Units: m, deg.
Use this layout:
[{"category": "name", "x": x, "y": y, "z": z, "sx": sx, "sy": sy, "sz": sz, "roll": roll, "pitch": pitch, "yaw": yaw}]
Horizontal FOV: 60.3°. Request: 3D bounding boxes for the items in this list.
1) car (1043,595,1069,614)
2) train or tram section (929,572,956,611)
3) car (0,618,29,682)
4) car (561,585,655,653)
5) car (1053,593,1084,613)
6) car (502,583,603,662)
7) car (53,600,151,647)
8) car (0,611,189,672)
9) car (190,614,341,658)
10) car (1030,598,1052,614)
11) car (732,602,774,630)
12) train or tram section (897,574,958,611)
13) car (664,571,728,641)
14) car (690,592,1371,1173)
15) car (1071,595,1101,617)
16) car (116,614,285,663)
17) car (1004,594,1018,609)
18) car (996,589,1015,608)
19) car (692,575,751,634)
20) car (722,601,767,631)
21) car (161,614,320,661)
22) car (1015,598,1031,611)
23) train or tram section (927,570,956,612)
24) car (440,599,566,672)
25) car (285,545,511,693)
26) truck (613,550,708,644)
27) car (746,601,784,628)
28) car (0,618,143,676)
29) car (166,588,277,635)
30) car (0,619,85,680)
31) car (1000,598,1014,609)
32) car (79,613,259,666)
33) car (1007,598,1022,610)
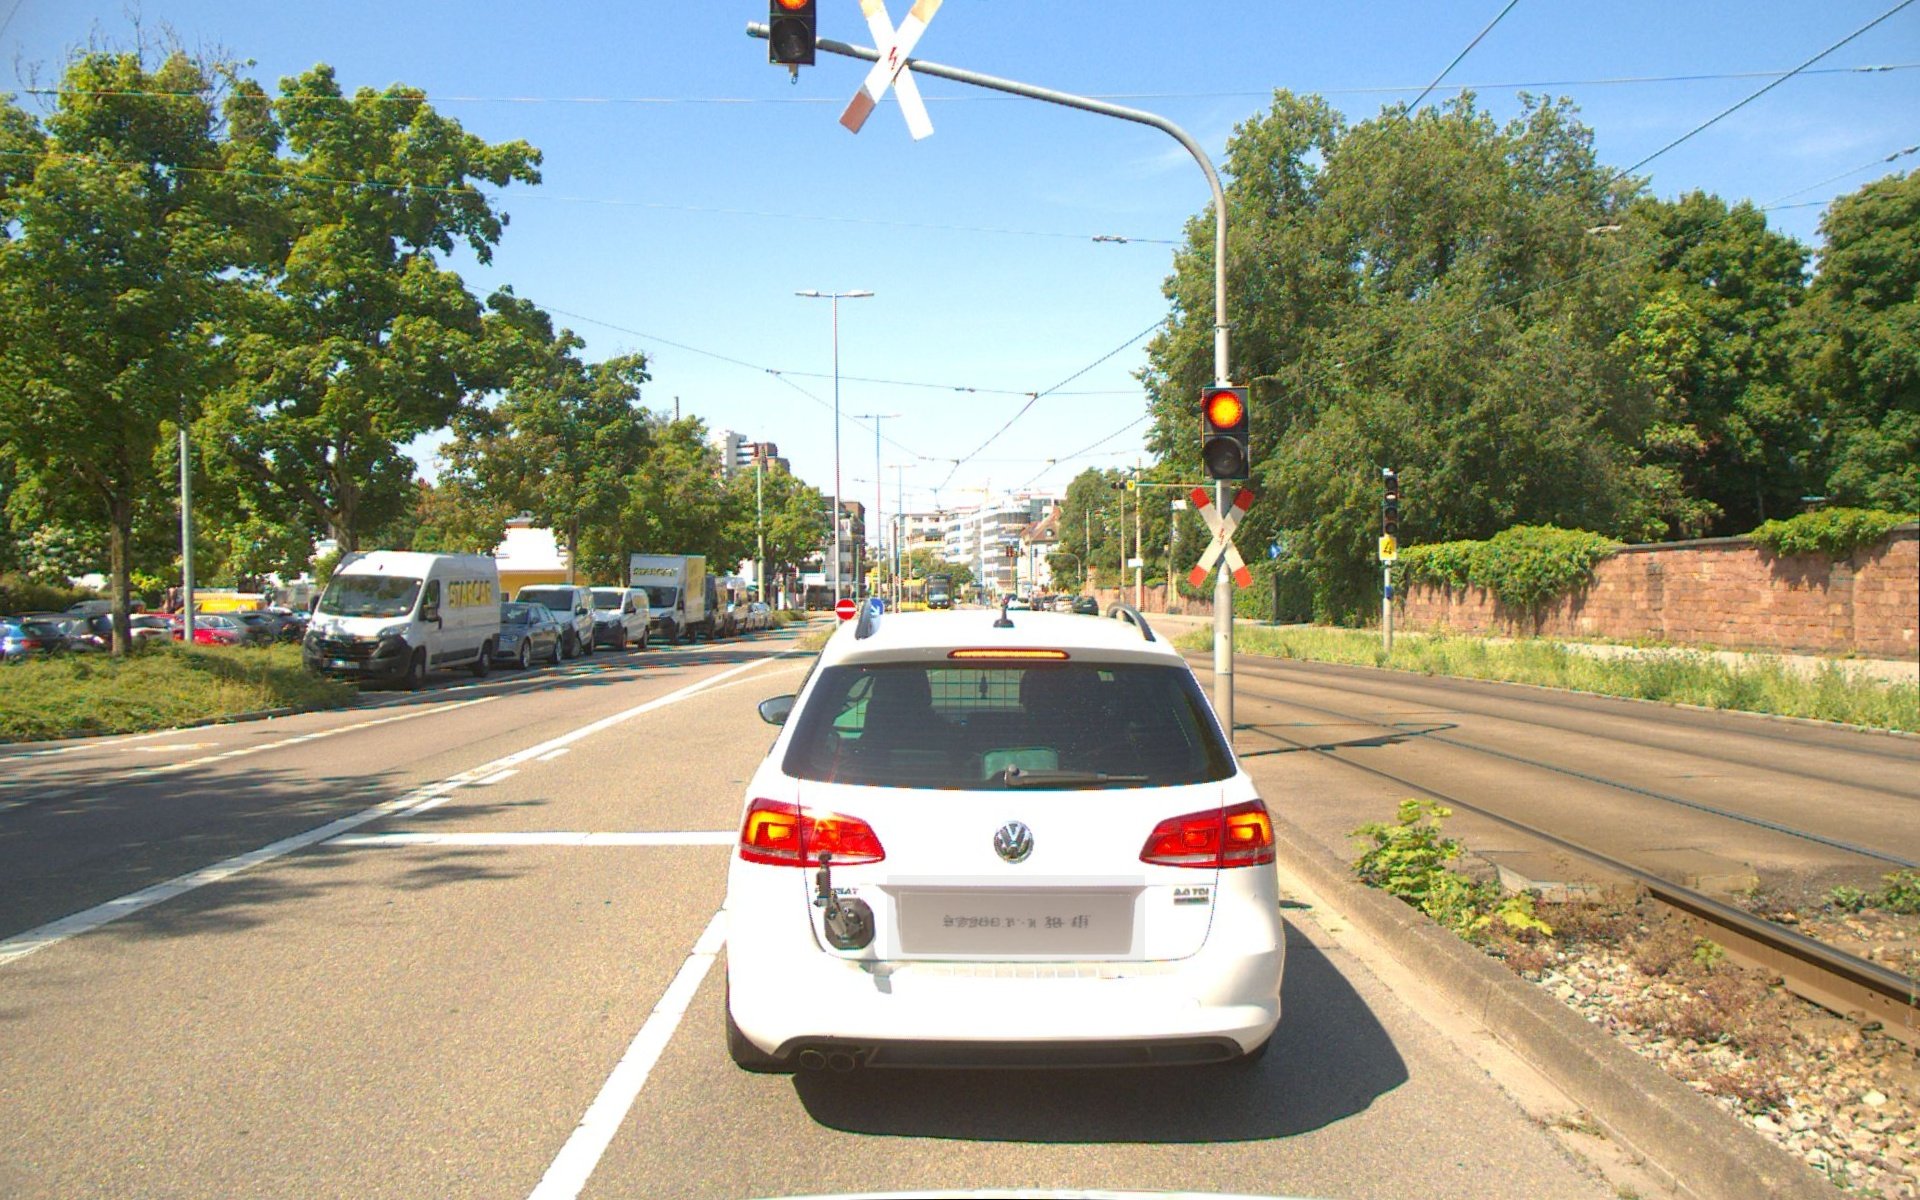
[{"category": "car", "x": 8.031, "y": 0.368, "z": 138.601, "sx": 1.824, "sy": 1.539, "sz": 3.911, "roll": 1, "pitch": 0, "yaw": -2}, {"category": "train or tram section", "x": -1.538, "y": -0.734, "z": 148.341, "sx": 2.254, "sy": 3.309, "sz": 10.807, "roll": 1, "pitch": -1, "yaw": 0}, {"category": "car", "x": -20.966, "y": 1.049, "z": 32.841, "sx": 3.907, "sy": 1.246, "sz": 1.770, "roll": -1, "pitch": 0, "yaw": -3}, {"category": "car", "x": -10.947, "y": 0.547, "z": 51.762, "sx": 1.806, "sy": 1.995, "sz": 5.133, "roll": -1, "pitch": 0, "yaw": 0}, {"category": "car", "x": 8.038, "y": 0.228, "z": 122.625, "sx": 1.824, "sy": 1.441, "sz": 4.323, "roll": 1, "pitch": 0, "yaw": -2}, {"category": "car", "x": -11.037, "y": 0.567, "z": 45.132, "sx": 1.807, "sy": 1.971, "sz": 5.189, "roll": -1, "pitch": 0, "yaw": -5}, {"category": "car", "x": -36.984, "y": 0.991, "z": 71.352, "sx": 3.354, "sy": 1.909, "sz": 1.552, "roll": -1, "pitch": 0, "yaw": -3}, {"category": "car", "x": -21.752, "y": 1.027, "z": 41.554, "sx": 3.904, "sy": 1.373, "sz": 1.772, "roll": -1, "pitch": 0, "yaw": 2}, {"category": "car", "x": -21.576, "y": 1.115, "z": 51.488, "sx": 3.904, "sy": 1.246, "sz": 1.772, "roll": -1, "pitch": 0, "yaw": 2}, {"category": "car", "x": 7.563, "y": 0.533, "z": 154.674, "sx": 1.711, "sy": 1.432, "sz": 3.910, "roll": 1, "pitch": 0, "yaw": -3}, {"category": "car", "x": -11.382, "y": 0.871, "z": 91.179, "sx": 1.806, "sy": 1.458, "sz": 4.037, "roll": -1, "pitch": 0, "yaw": -1}, {"category": "train or tram section", "x": -3.196, "y": -0.691, "z": 158.288, "sx": 2.268, "sy": 3.309, "sz": 10.740, "roll": 1, "pitch": -1, "yaw": -21}, {"category": "car", "x": -10.819, "y": 0.212, "z": 67.982, "sx": 1.806, "sy": 2.715, "sz": 5.003, "roll": -1, "pitch": 0, "yaw": 0}, {"category": "car", "x": 0.132, "y": 0.725, "z": 6.215, "sx": 1.732, "sy": 1.471, "sz": 3.912, "roll": 1, "pitch": 0, "yaw": -2}, {"category": "car", "x": 8.372, "y": 0.362, "z": 110.014, "sx": 1.710, "sy": 1.412, "sz": 3.913, "roll": 1, "pitch": 0, "yaw": 0}, {"category": "car", "x": -21.355, "y": 1.075, "z": 46.572, "sx": 3.904, "sy": 1.246, "sz": 1.772, "roll": -1, "pitch": 0, "yaw": 2}, {"category": "car", "x": 6.438, "y": 0.148, "z": 209.066, "sx": 1.657, "sy": 1.844, "sz": 3.453, "roll": 1, "pitch": -1, "yaw": -1}, {"category": "car", "x": 6.315, "y": -0.187, "z": 229.936, "sx": 2.413, "sy": 2.542, "sz": 5.908, "roll": 1, "pitch": -1, "yaw": -1}, {"category": "car", "x": -10.831, "y": 0.168, "z": 75.489, "sx": 1.806, "sy": 2.538, "sz": 5.856, "roll": -1, "pitch": 0, "yaw": 0}, {"category": "car", "x": -11.099, "y": 0.818, "z": 85.271, "sx": 1.806, "sy": 1.458, "sz": 4.037, "roll": -1, "pitch": 0, "yaw": -1}, {"category": "car", "x": -21.344, "y": 1.104, "z": 49.168, "sx": 3.904, "sy": 1.246, "sz": 1.772, "roll": -1, "pitch": 0, "yaw": 2}, {"category": "car", "x": 6.727, "y": 0.483, "z": 177.085, "sx": 1.549, "sy": 1.370, "sz": 3.453, "roll": 1, "pitch": -1, "yaw": -1}, {"category": "train or tram section", "x": -1.541, "y": -0.691, "z": 137.566, "sx": 2.254, "sy": 3.309, "sz": 11.272, "roll": 1, "pitch": -1, "yaw": 0}, {"category": "car", "x": -10.560, "y": 0.779, "z": 38.508, "sx": 1.806, "sy": 1.543, "sz": 4.196, "roll": -1, "pitch": 0, "yaw": -1}, {"category": "car", "x": -10.733, "y": 0.311, "z": 32.232, "sx": 2.016, "sy": 2.544, "sz": 6.309, "roll": 2, "pitch": 0, "yaw": 2}, {"category": "truck", "x": -10.812, "y": -0.108, "z": 60.212, "sx": 2.309, "sy": 3.177, "sz": 6.889, "roll": -1, "pitch": 0, "yaw": -2}, {"category": "car", "x": -11.345, "y": 0.833, "z": 96.410, "sx": 1.744, "sy": 1.458, "sz": 4.037, "roll": -1, "pitch": 0, "yaw": -1}, {"category": "car", "x": -21.620, "y": 1.115, "z": 38.875, "sx": 3.904, "sy": 1.246, "sz": 1.772, "roll": -1, "pitch": 0, "yaw": 2}, {"category": "car", "x": -34.113, "y": 0.545, "z": 76.495, "sx": 4.175, "sy": 2.049, "sz": 1.997, "roll": 1, "pitch": -1, "yaw": -7}, {"category": "car", "x": -21.290, "y": 1.083, "z": 35.654, "sx": 3.904, "sy": 1.246, "sz": 1.772, "roll": -1, "pitch": 0, "yaw": 2}, {"category": "car", "x": 6.995, "y": 0.535, "z": 246.464, "sx": 1.953, "sy": 1.624, "sz": 3.999, "roll": 1, "pitch": -1, "yaw": 0}, {"category": "car", "x": -21.002, "y": 1.038, "z": 43.983, "sx": 3.904, "sy": 1.286, "sz": 1.772, "roll": -1, "pitch": 0, "yaw": 2}, {"category": "car", "x": 6.440, "y": 0.525, "z": 196.223, "sx": 1.549, "sy": 1.370, "sz": 3.453, "roll": 1, "pitch": -1, "yaw": -1}]
